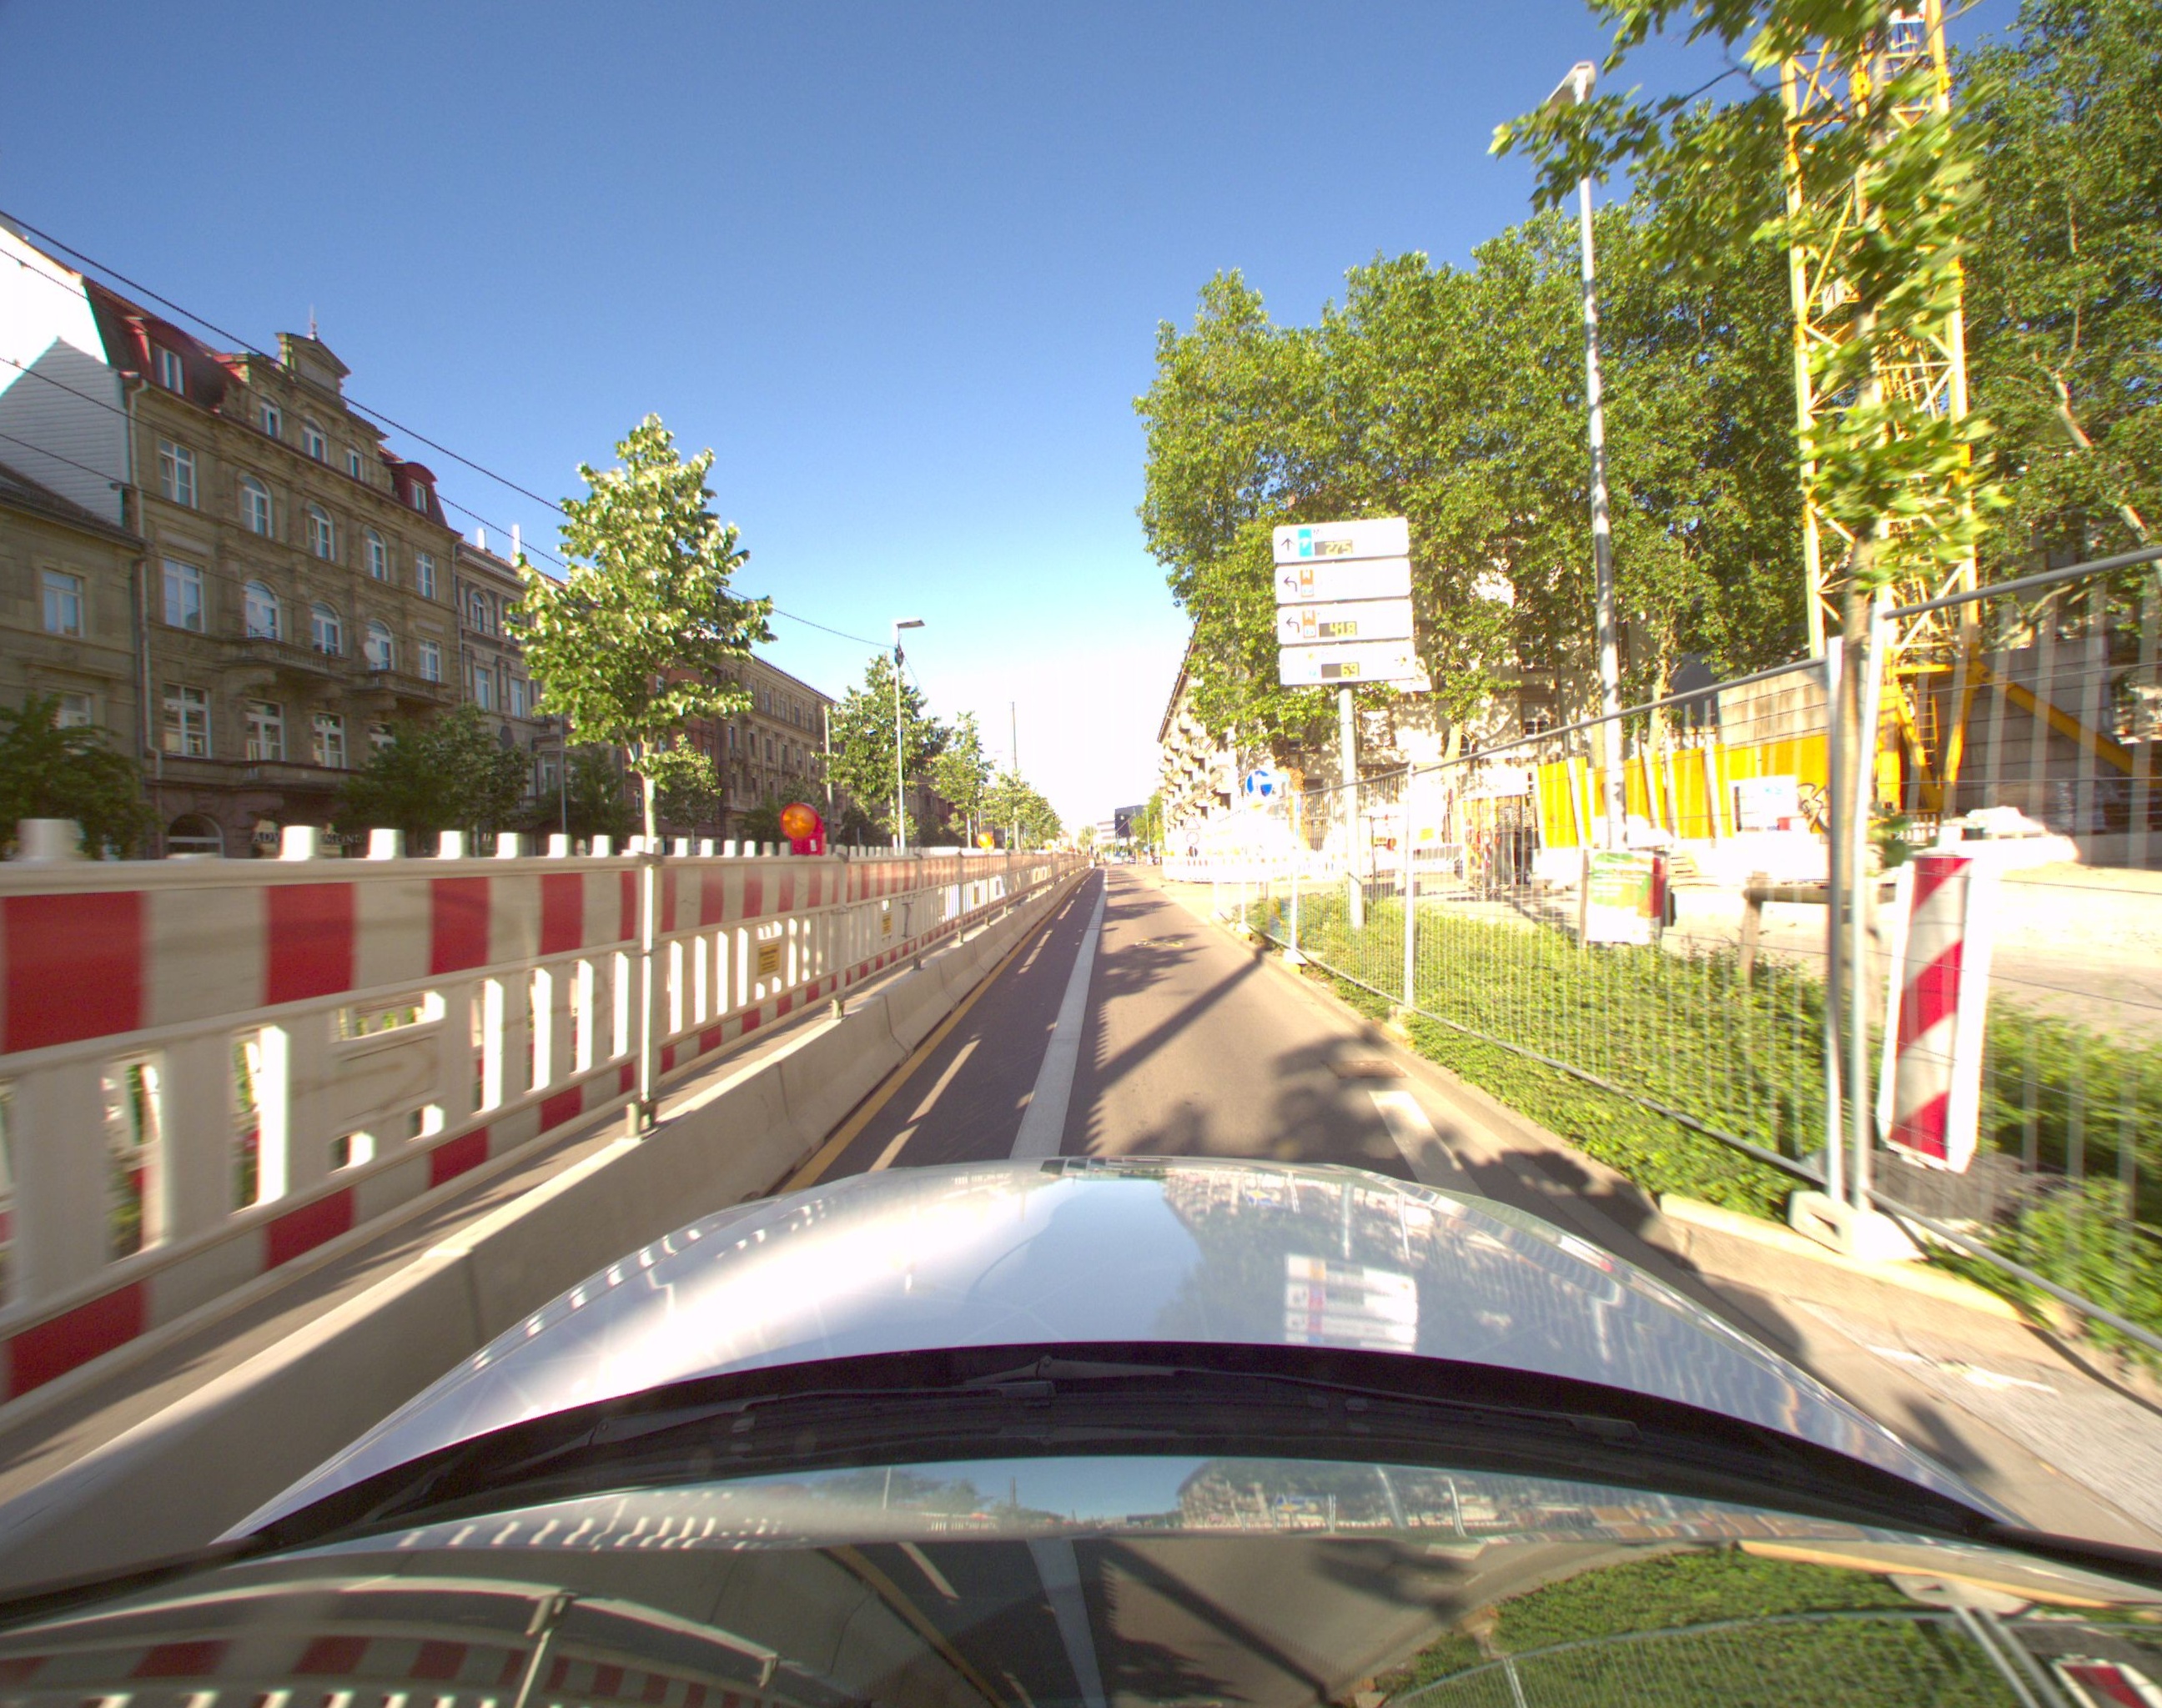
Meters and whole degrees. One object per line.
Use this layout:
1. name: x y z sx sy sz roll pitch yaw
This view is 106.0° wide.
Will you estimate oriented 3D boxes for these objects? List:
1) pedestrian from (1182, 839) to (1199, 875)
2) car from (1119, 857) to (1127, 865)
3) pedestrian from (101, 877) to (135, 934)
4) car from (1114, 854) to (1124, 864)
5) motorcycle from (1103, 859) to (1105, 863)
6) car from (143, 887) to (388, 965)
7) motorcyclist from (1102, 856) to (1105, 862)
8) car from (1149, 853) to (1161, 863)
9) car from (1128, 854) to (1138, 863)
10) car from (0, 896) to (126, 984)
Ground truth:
1. pedestrian: 5.426 0.129 40.297 0.666 1.746 0.778 -3 0 1
2. car: 10.267 1.692 199.287 1.876 1.842 3.669 -3 0 2
3. pedestrian: -26.484 1.418 22.392 0.403 1.534 0.435 -1 -1 2
4. car: 7.837 0.968 166.894 1.876 1.842 3.669 -3 0 2
5. motorcycle: 5.487 1.721 194.260 0.628 0.896 1.621 -3 0 2
6. car: -21.155 1.782 21.483 1.560 1.562 4.716 -3 0 2
7. motorcyclist: 5.462 1.213 194.335 0.628 1.263 0.606 -3 0 2
8. car: 13.170 0.667 145.176 1.875 1.589 3.670 -3 0 3
9. car: 11.173 0.875 174.156 1.876 1.842 3.669 -3 0 2
10. car: -21.424 1.737 15.155 1.560 1.562 4.717 -3 0 2
